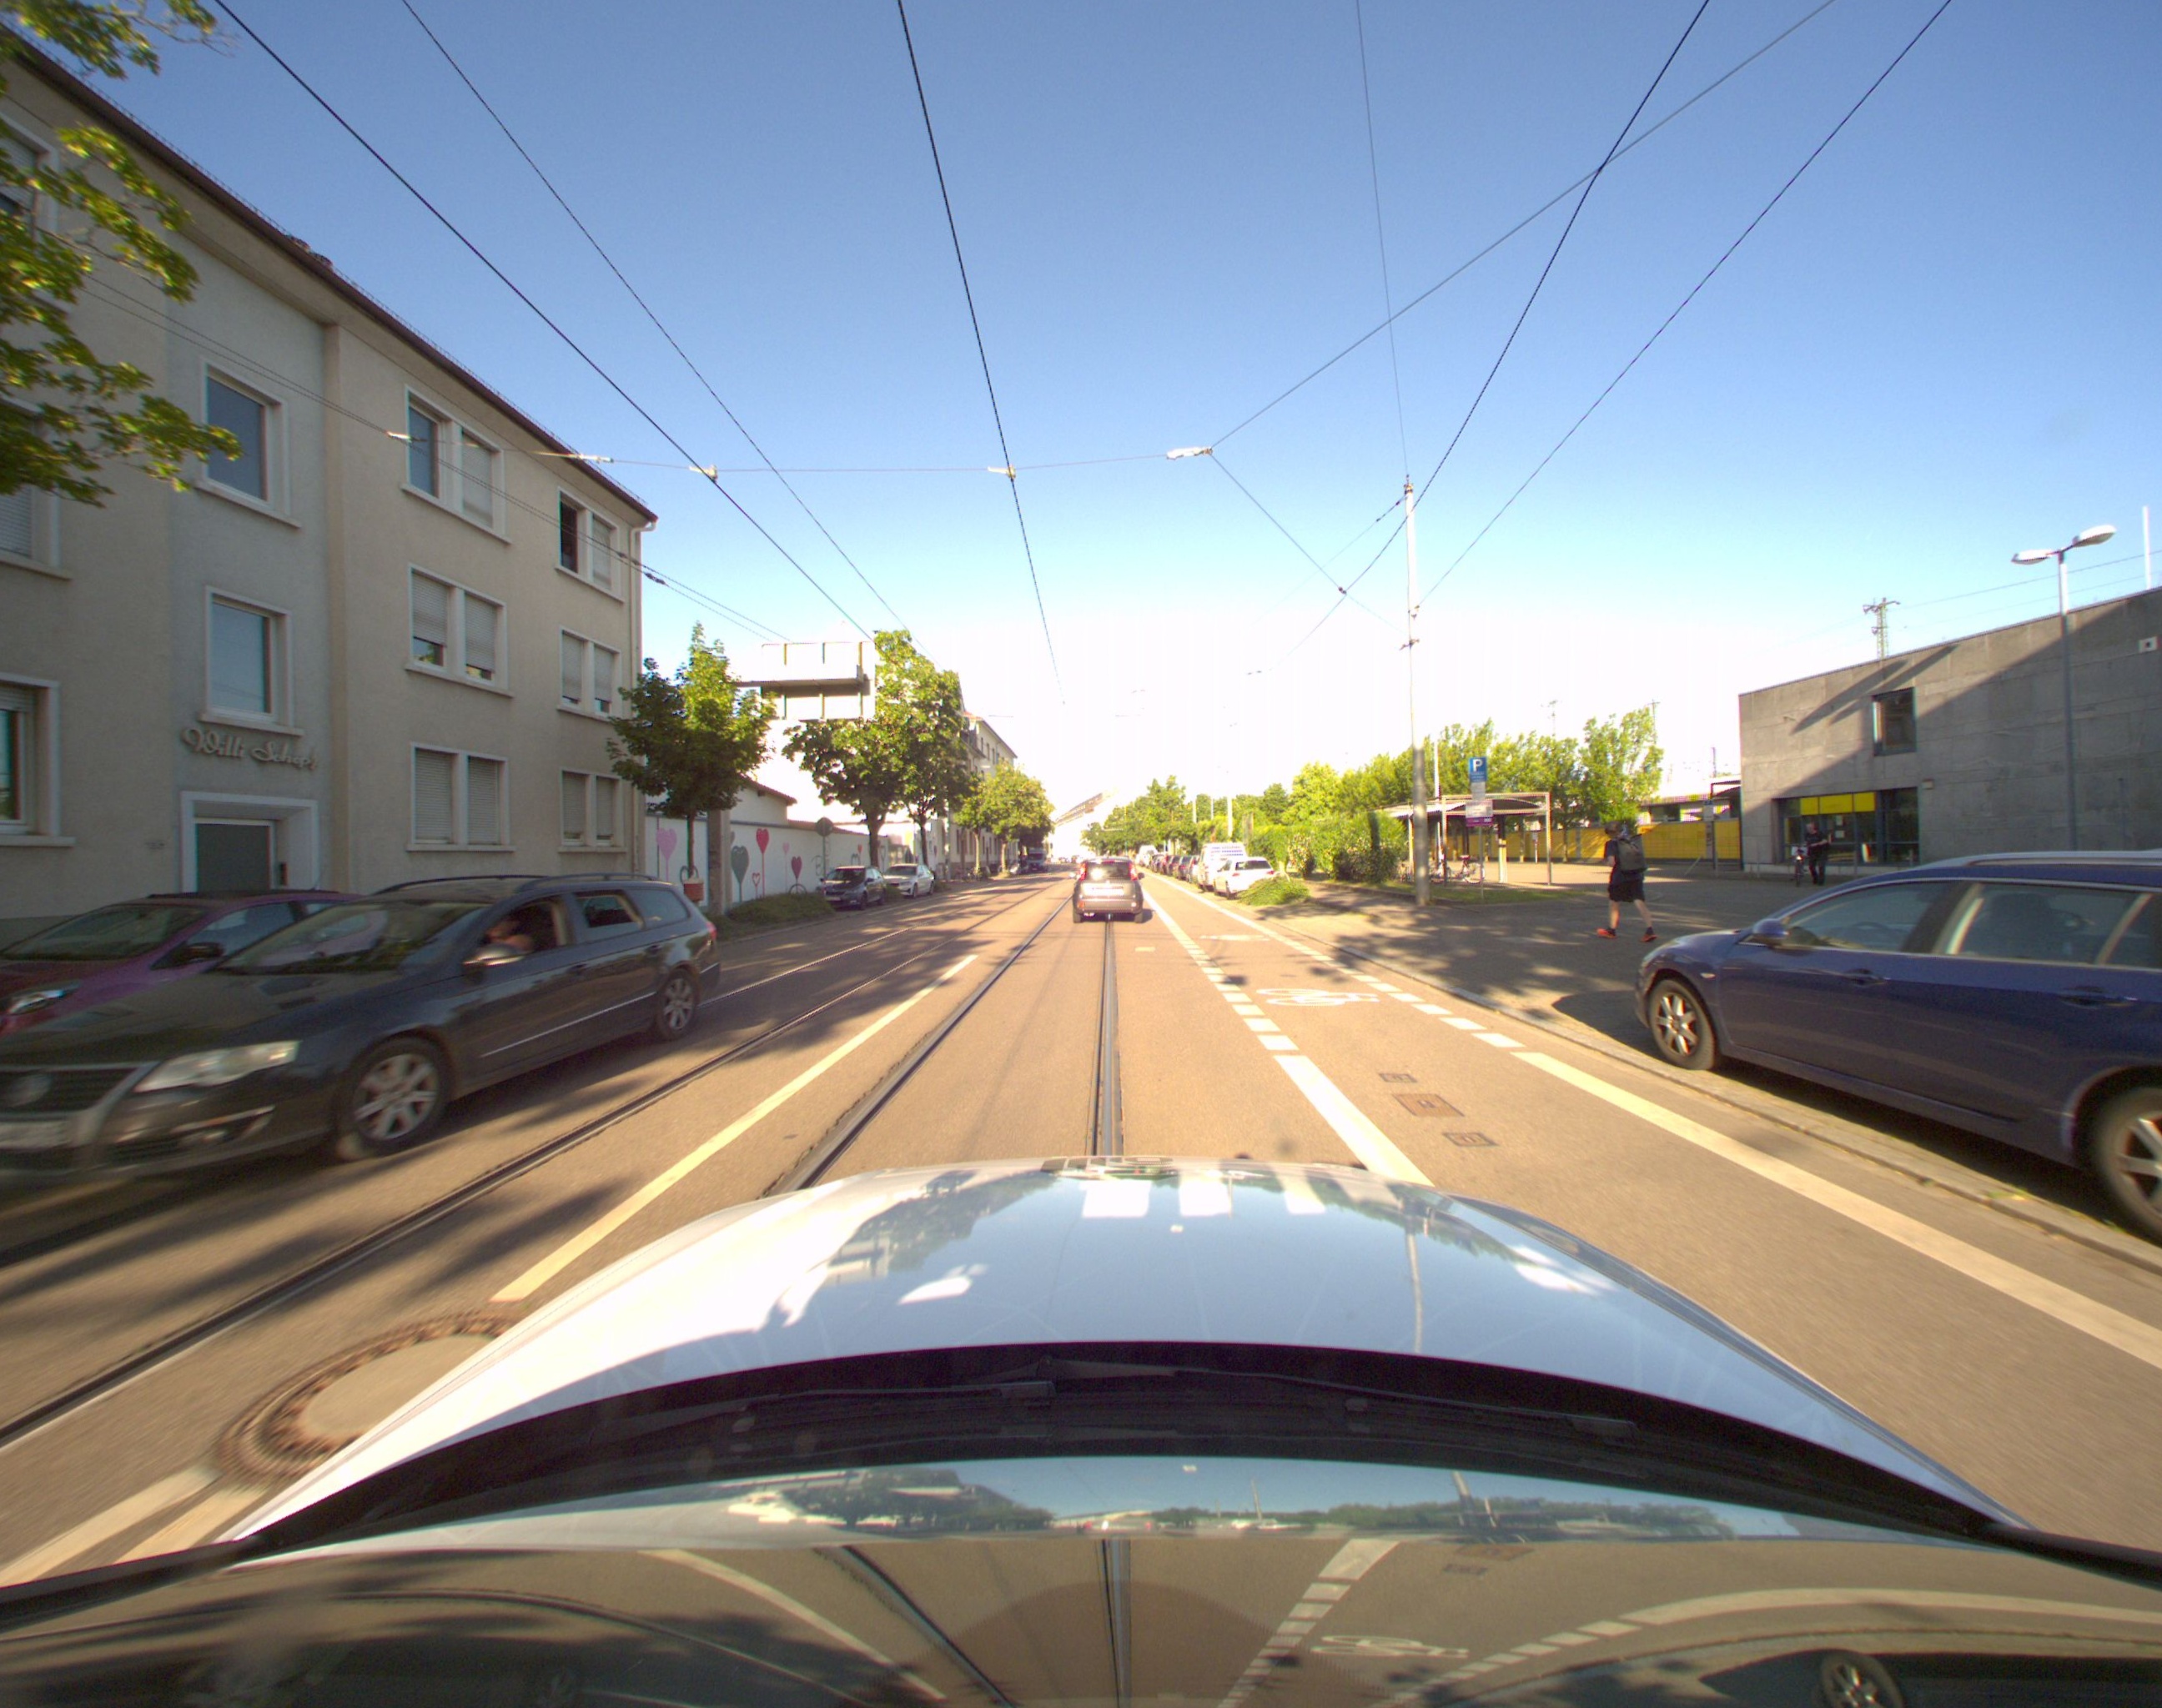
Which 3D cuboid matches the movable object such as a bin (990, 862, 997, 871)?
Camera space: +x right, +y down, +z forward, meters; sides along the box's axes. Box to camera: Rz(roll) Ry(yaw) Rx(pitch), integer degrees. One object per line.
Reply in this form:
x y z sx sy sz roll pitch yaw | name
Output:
-8.666 1.250 81.011 0.594 0.934 0.568 -2 0 -1 | movable object such as a bin

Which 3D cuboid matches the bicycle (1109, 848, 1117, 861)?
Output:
4.520 0.050 115.926 0.675 1.747 2.151 0 -1 -9 | bicycle

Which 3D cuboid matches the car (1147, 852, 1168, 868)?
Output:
8.106 0.634 86.467 1.723 1.604 4.341 0 0 -1 | car

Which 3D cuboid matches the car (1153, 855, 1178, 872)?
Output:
7.421 0.842 72.256 1.723 1.464 4.339 0 0 -1 | car

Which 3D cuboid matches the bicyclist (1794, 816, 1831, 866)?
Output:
20.691 -0.353 23.031 0.585 1.384 0.721 0 -1 -45 | bicyclist

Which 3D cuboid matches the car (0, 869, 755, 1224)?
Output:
-4.431 0.909 5.959 1.757 1.463 4.754 -2 -1 5 | car

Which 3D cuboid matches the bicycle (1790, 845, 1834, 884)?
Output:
20.598 0.284 22.937 2.021 1.071 0.745 0 -1 -44 | bicycle

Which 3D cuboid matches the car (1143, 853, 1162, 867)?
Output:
7.971 0.688 91.252 1.723 1.512 4.250 0 0 -1 | car

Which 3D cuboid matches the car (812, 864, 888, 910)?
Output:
-8.092 1.112 28.917 1.769 1.486 4.298 0 0 -5 | car

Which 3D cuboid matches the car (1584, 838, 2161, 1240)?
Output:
4.900 0.680 4.304 1.696 1.481 4.660 -2 0 2 | car

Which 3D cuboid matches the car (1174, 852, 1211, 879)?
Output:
6.602 0.666 48.760 1.817 1.484 4.605 -1 0 3 | car

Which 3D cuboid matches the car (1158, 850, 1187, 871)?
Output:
7.066 0.492 63.141 1.818 1.493 3.814 -4 0 0 | car

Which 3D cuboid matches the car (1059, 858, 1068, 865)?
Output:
-4.473 1.893 206.280 1.583 1.405 3.366 -5 0 -9 | car

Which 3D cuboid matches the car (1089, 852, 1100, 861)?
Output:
2.612 0.506 158.048 1.634 1.508 3.388 -4 0 -7 | car

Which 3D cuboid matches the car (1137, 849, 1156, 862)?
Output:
8.047 0.219 100.384 1.903 1.530 4.601 -2 0 1 | car

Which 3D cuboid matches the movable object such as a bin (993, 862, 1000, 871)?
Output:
-8.630 1.267 83.409 0.594 0.934 0.568 -2 0 -1 | movable object such as a bin

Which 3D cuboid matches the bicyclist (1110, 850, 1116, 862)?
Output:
4.512 0.258 115.872 0.699 1.759 0.755 0 -1 -9 | bicyclist

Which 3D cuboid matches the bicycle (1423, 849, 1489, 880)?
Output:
12.350 0.356 26.855 1.883 1.008 0.579 -1 -1 14 | bicycle

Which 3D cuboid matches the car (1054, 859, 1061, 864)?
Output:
-6.225 2.000 217.599 1.582 1.405 3.366 0 0 -9 | car

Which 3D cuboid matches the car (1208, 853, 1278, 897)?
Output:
5.887 0.730 30.060 1.670 1.418 4.502 -3 0 0 | car

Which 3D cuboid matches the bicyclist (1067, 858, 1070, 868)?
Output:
-2.734 1.956 177.147 0.715 2.014 0.829 0 -1 -9 | bicyclist

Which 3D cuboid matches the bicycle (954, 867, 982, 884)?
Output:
-7.218 1.354 52.146 0.661 1.040 1.798 -1 -1 39 | bicycle

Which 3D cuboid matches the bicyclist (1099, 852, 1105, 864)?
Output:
3.218 0.585 124.208 0.699 1.759 0.755 0 -1 -9 | bicyclist

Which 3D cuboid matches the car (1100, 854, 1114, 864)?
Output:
4.589 0.869 143.057 1.689 1.530 3.985 -3 0 -10 | car

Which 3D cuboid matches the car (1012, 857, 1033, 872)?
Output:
-5.861 1.045 81.963 1.645 1.425 4.192 -1 0 2 | car

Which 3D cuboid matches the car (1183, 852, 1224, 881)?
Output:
6.567 0.644 44.061 1.864 1.473 4.079 -1 0 4 | car

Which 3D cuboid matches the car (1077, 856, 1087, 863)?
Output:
0.295 1.155 176.267 1.655 1.571 3.488 0 0 -9 | car

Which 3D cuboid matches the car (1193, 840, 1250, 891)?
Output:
6.013 0.463 35.464 1.846 1.991 5.247 -2 0 4 | car

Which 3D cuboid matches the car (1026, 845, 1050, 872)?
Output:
-4.720 0.474 89.758 2.009 2.826 6.037 -1 0 3 | car

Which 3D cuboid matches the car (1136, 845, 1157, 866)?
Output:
8.542 0.217 107.210 2.173 2.665 6.091 -4 0 1 | car

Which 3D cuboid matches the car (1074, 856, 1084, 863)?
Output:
-0.354 1.224 180.323 1.655 1.571 3.864 0 0 -9 | car

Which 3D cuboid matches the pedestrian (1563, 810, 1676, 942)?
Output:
7.908 0.306 12.035 0.668 1.789 1.304 -5 -1 2 | pedestrian

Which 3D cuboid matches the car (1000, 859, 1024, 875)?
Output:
-6.371 1.186 75.651 1.645 1.491 4.002 -1 0 2 | car

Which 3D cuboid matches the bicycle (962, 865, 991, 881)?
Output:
-7.157 1.313 55.822 1.998 1.040 0.526 0 -1 -44 | bicycle

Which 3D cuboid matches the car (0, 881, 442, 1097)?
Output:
-8.753 1.078 8.065 1.566 1.505 4.002 -1 0 2 | car

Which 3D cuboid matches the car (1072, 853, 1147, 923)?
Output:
0.700 0.755 20.002 1.644 1.541 4.236 0 0 2 | car

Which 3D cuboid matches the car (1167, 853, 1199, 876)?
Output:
7.082 0.711 57.094 1.817 1.452 4.645 -2 0 3 | car

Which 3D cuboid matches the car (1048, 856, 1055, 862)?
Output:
-8.306 1.435 231.433 1.582 1.599 3.366 0 0 -9 | car

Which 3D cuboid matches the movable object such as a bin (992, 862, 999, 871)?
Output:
-8.598 1.254 81.605 0.594 0.934 0.568 -2 0 -1 | movable object such as a bin

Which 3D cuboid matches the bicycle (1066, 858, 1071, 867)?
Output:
-2.722 1.877 177.162 0.741 2.014 2.803 0 -1 -9 | bicycle

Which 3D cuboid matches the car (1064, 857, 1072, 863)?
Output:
-3.141 1.526 196.940 1.655 1.500 3.120 0 0 -9 | car

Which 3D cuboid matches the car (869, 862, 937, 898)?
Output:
-7.880 1.101 36.516 1.857 1.490 4.663 -1 0 2 | car

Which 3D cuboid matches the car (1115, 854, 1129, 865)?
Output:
6.338 0.856 126.432 1.686 1.530 3.993 -3 0 -5 | car

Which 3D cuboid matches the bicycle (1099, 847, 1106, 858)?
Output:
3.233 -0.218 124.261 0.675 1.747 2.151 0 -1 -9 | bicycle

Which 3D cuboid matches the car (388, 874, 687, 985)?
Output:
-8.493 1.096 13.313 1.866 1.429 4.295 -1 0 2 | car
